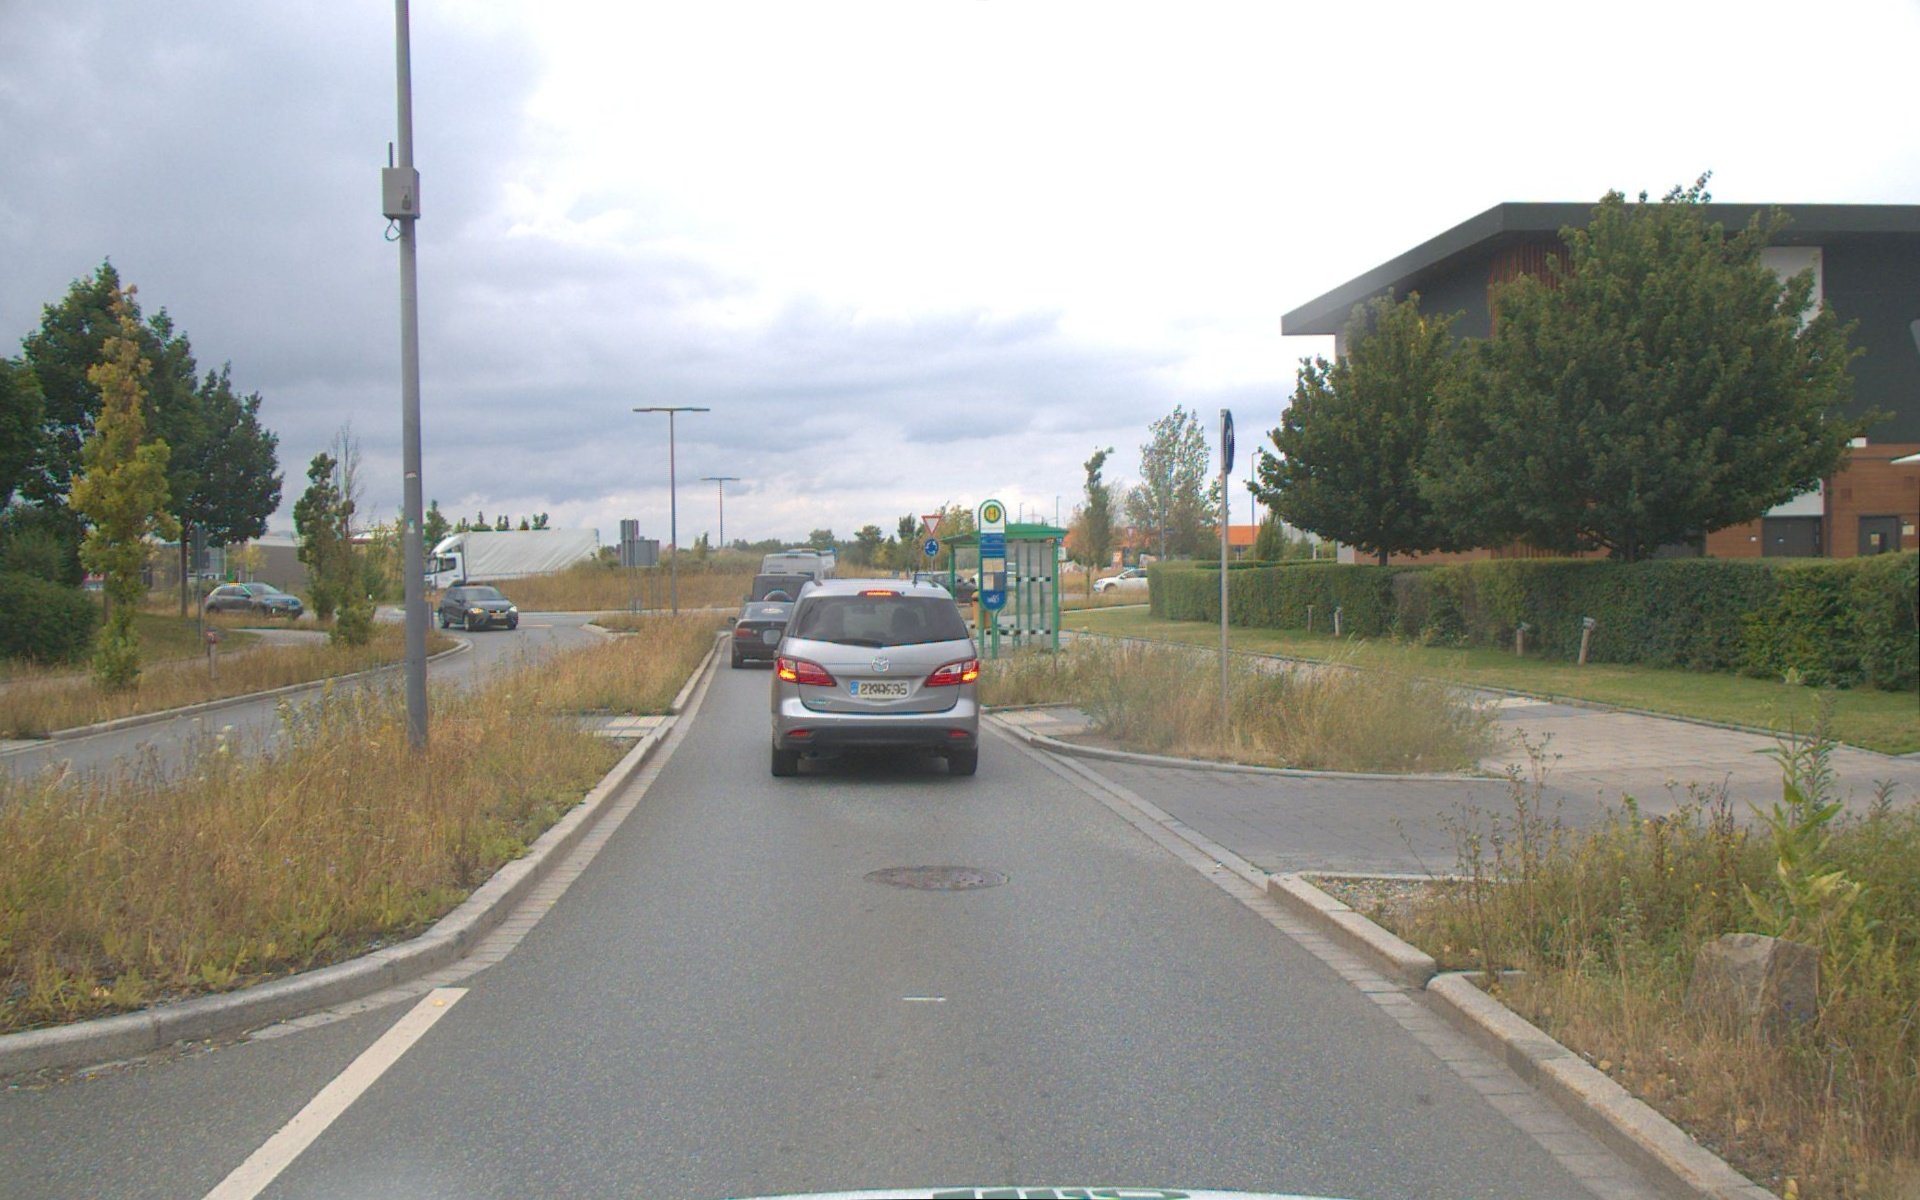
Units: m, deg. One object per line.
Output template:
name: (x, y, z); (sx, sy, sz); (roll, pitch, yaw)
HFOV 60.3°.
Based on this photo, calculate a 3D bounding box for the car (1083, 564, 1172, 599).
car: (8.649, -0.961, 85.867); (4.505, 1.788, 2.001); (-1, 0, 3)

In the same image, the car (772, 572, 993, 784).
car: (-0.794, 0.571, 14.676); (1.696, 1.628, 3.802); (0, 1, -6)

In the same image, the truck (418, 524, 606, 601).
truck: (-23.879, -2.014, 88.342); (9.214, 3.975, 3.109); (-1, 0, -32)

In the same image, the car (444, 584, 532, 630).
car: (-16.265, 0.261, 56.891); (1.825, 1.431, 3.954); (-3, 1, -33)

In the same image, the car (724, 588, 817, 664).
car: (-3.966, 0.496, 34.949); (1.809, 1.443, 4.220); (-1, 1, -5)

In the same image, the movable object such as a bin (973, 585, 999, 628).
movable object such as a bin: (0.497, 0.123, 32.160); (0.447, 0.812, 0.379); (-1, 0, -8)

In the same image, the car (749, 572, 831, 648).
car: (-4.407, 0.226, 43.435); (2.018, 1.857, 4.781); (-1, 0, -5)

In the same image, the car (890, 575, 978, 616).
car: (-1.007, -0.181, 65.641); (1.954, 1.542, 3.998); (-1, 1, 24)

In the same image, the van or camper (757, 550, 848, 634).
van or camper: (-4.964, -0.273, 52.744); (2.255, 2.549, 5.207); (0, 1, 1)

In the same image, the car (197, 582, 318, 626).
car: (-28.134, 0.160, 66.255); (4.102, 1.620, 2.066); (-1, 1, 19)
